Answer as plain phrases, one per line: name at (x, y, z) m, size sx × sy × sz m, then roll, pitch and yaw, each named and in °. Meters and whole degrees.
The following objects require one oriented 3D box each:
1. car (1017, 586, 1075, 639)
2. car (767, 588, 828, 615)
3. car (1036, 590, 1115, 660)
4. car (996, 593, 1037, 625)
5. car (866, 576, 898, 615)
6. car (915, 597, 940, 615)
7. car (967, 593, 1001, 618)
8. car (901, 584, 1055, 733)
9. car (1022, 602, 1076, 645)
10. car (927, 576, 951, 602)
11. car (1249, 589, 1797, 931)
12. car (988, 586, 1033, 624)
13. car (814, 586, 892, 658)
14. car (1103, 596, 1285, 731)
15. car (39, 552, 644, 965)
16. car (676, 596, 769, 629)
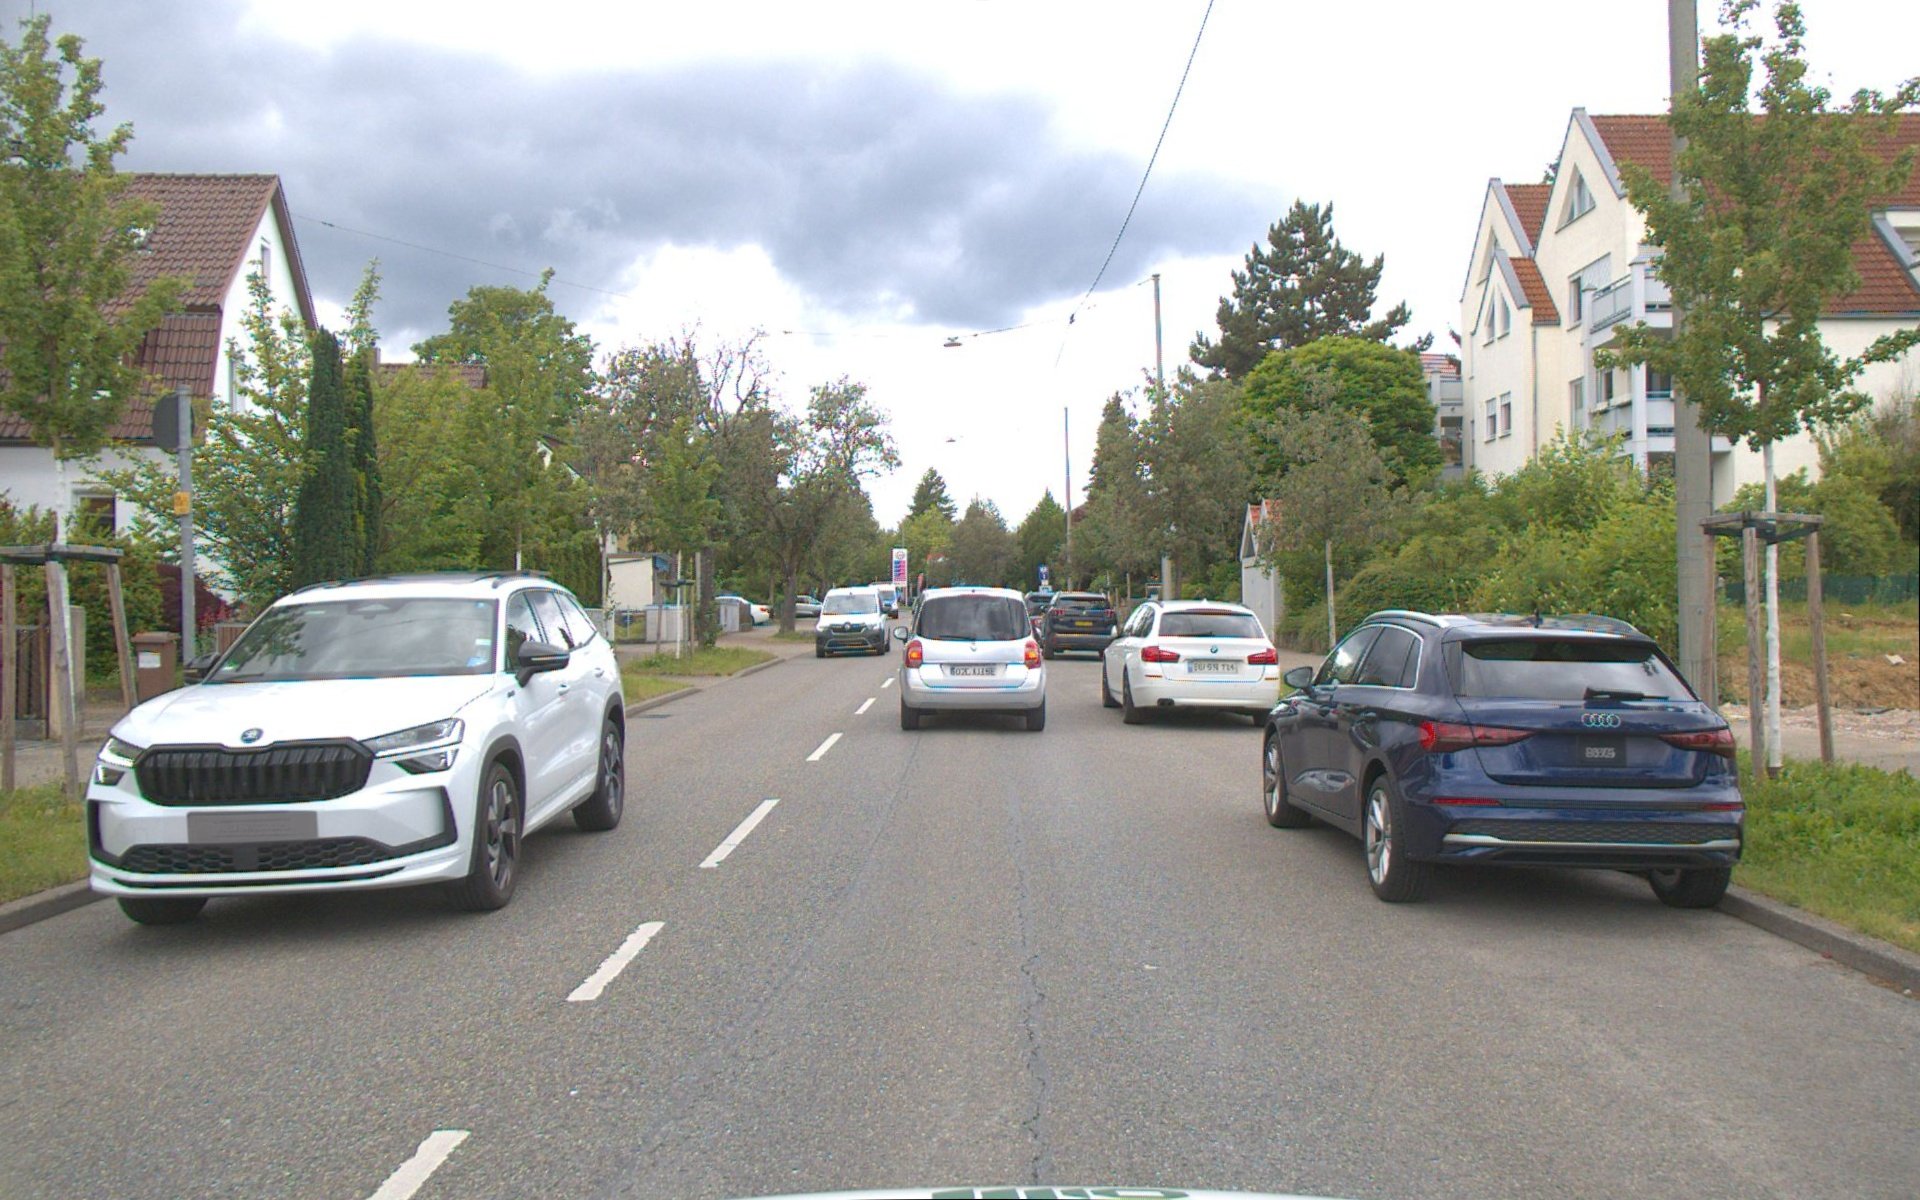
car at (3.054, 0.437, 59.394) m, size 1.793 × 1.741 × 4.549 m, roll -3°, pitch 0°, yaw 0°
car at (-11.188, 0.087, 113.961) m, size 4.002 × 1.735 × 1.748 m, roll 2°, pitch 0°, yaw 1°
car at (2.826, 0.580, 41.046) m, size 1.653 × 1.637 × 4.109 m, roll 1°, pitch 0°, yaw 0°
car at (2.648, 0.395, 78.137) m, size 1.527 × 1.468 × 3.503 m, roll 1°, pitch 0°, yaw -4°
car at (-5.534, -0.331, 118.158) m, size 2.031 × 2.627 × 5.298 m, roll -3°, pitch 0°, yaw -1°
car at (-2.840, 0.544, 144.857) m, size 1.664 × 1.532 × 3.965 m, roll 0°, pitch 0°, yaw -9°
car at (1.407, 0.328, 98.240) m, size 1.595 × 1.477 × 3.871 m, roll 0°, pitch 0°, yaw -5°
car at (0.203, 0.628, 19.594) m, size 1.645 × 1.587 × 3.512 m, roll 1°, pitch 0°, yaw 0°
car at (2.795, 0.723, 52.569) m, size 1.451 × 1.257 × 3.883 m, roll 2°, pitch 0°, yaw -1°
car at (-2.392, -1.276, 190.230) m, size 2.237 × 2.962 × 5.272 m, roll 1°, pitch 0°, yaw -6°
car at (2.930, 0.716, 9.619) m, size 1.631 × 1.542 × 4.219 m, roll 1°, pitch 0°, yaw -2°
car at (2.510, 0.247, 82.833) m, size 1.763 × 1.809 × 4.701 m, roll 1°, pitch 0°, yaw -4°
car at (-2.814, 0.540, 44.245) m, size 1.758 × 1.782 × 4.298 m, roll -2°, pitch 0°, yaw 0°
car at (2.846, 0.714, 20.991) m, size 1.659 × 1.479 × 4.404 m, roll 1°, pitch 0°, yaw 0°
car at (-3.104, 0.676, 9.403) m, size 1.777 × 1.722 × 4.465 m, roll -2°, pitch 0°, yaw -1°
car at (-10.924, 0.578, 76.278) m, size 4.197 × 1.392 × 1.813 m, roll 2°, pitch 0°, yaw -7°
